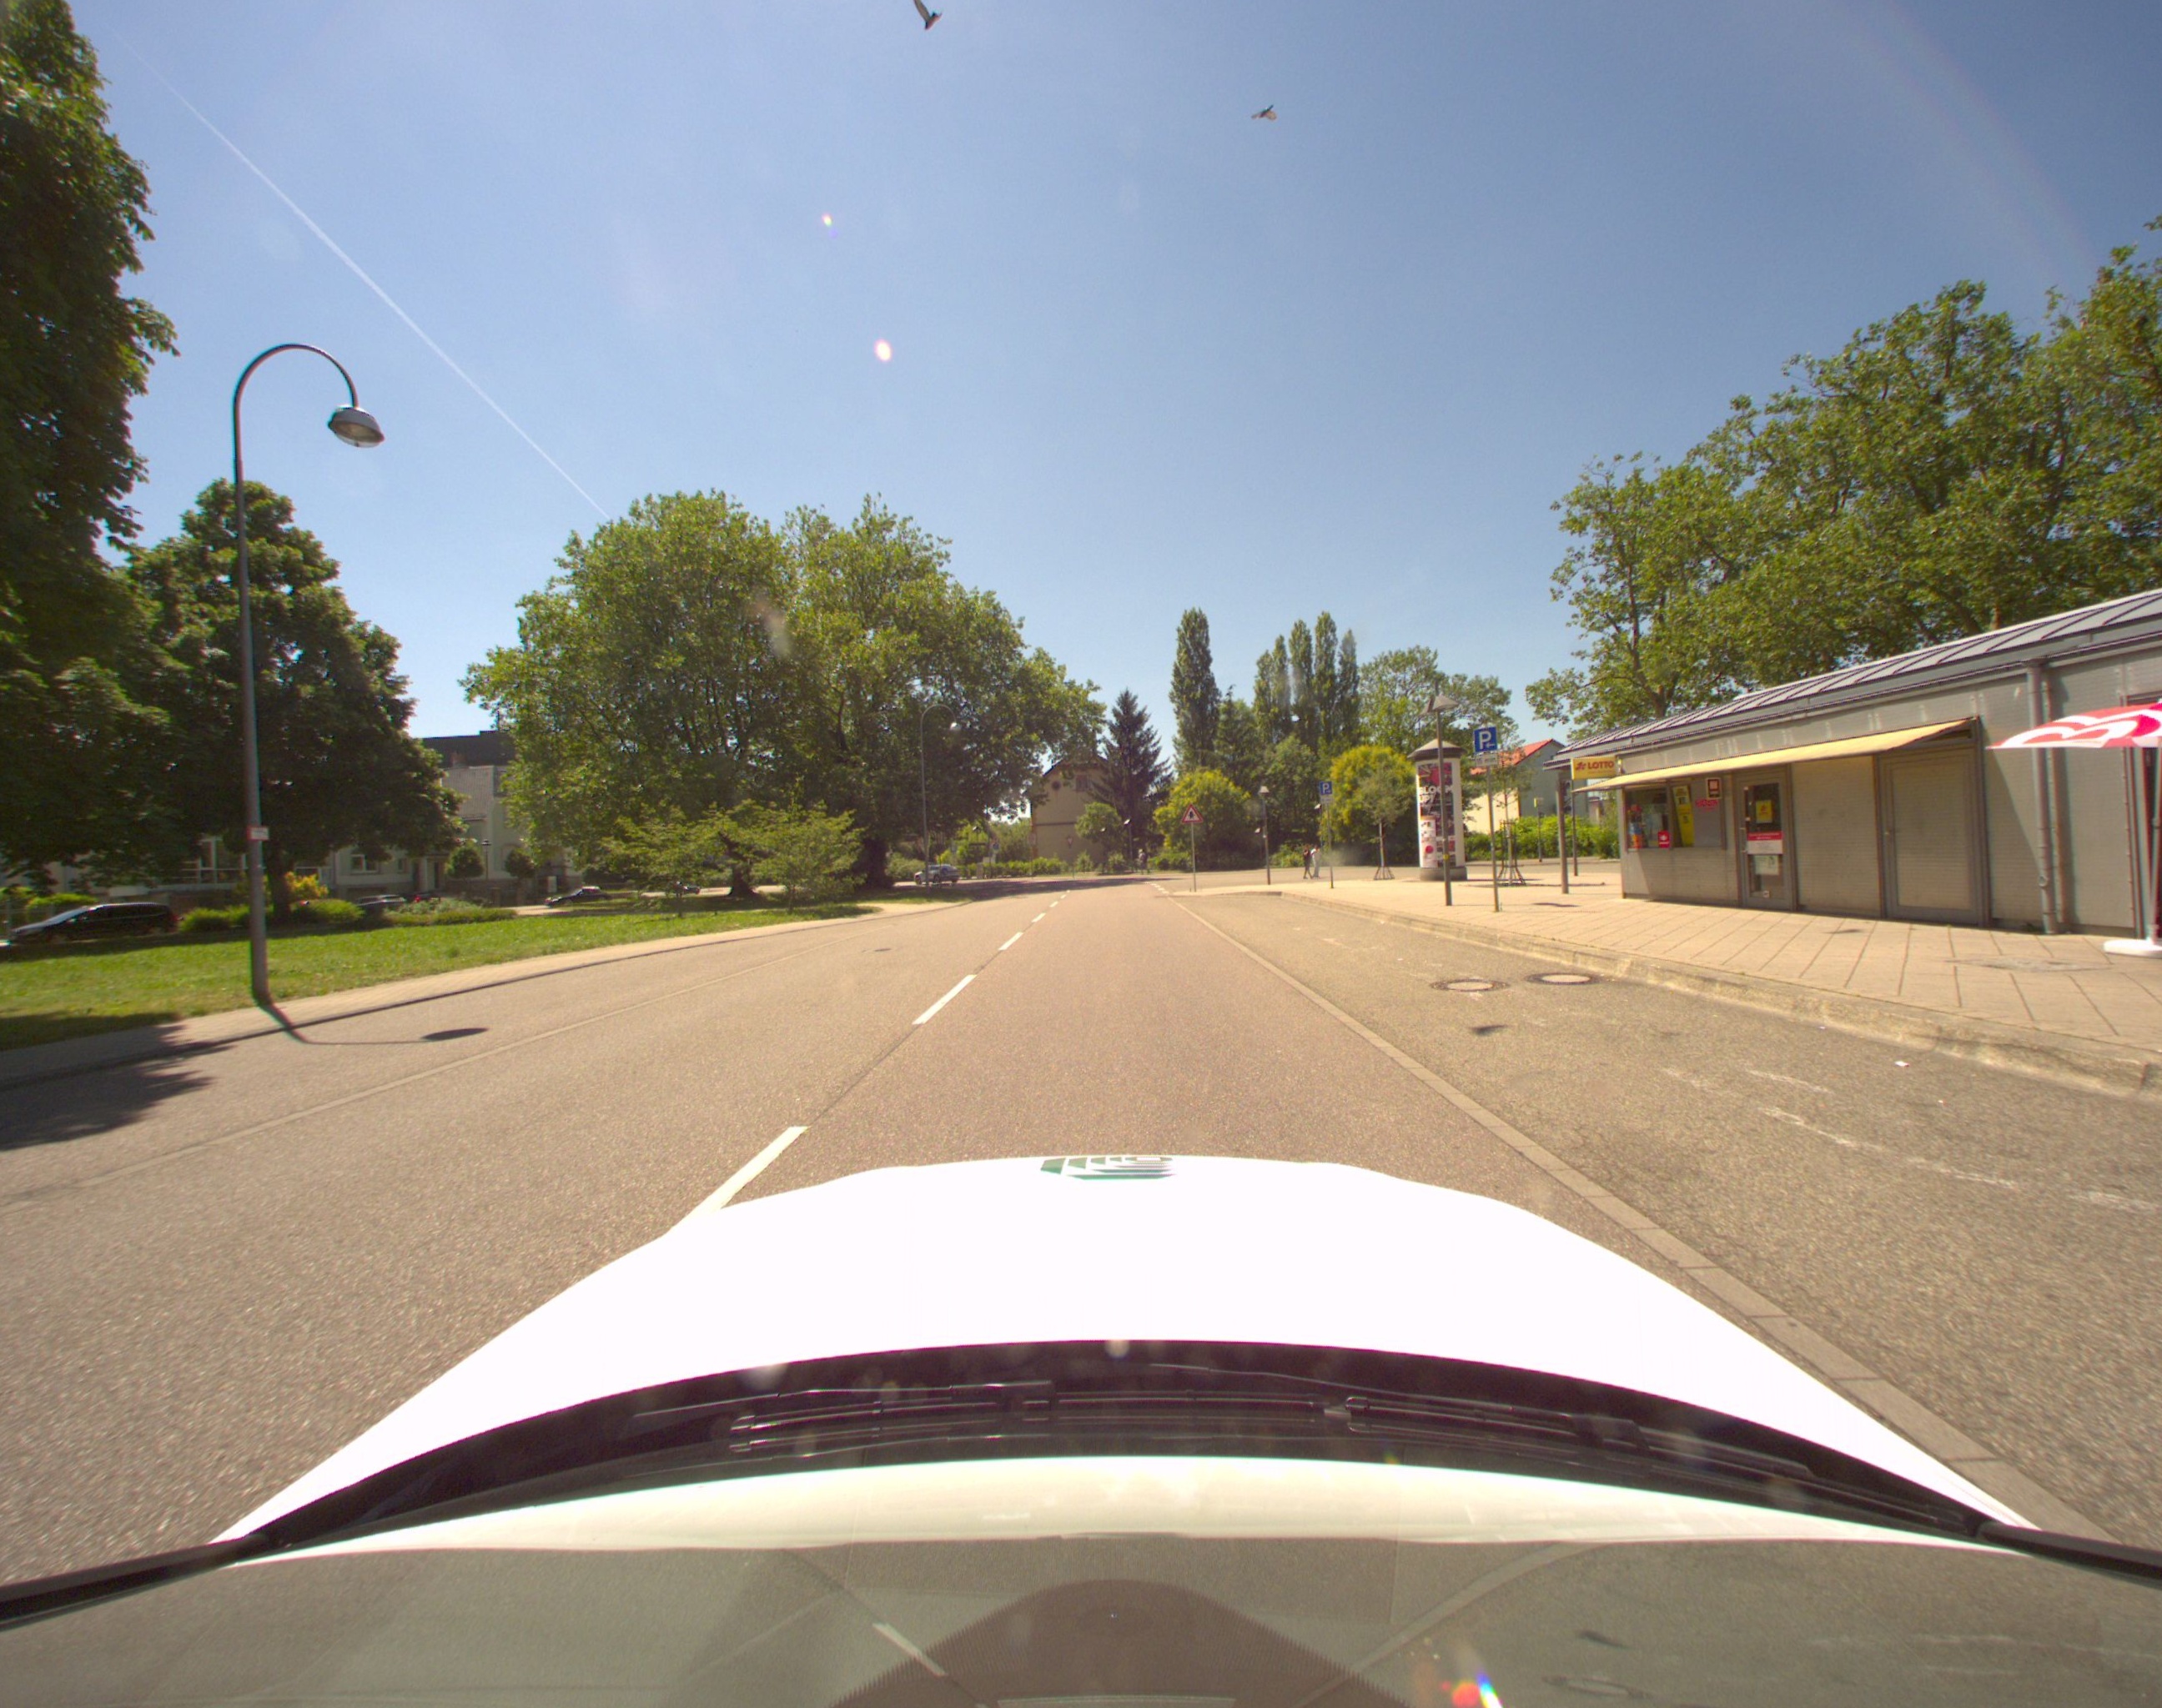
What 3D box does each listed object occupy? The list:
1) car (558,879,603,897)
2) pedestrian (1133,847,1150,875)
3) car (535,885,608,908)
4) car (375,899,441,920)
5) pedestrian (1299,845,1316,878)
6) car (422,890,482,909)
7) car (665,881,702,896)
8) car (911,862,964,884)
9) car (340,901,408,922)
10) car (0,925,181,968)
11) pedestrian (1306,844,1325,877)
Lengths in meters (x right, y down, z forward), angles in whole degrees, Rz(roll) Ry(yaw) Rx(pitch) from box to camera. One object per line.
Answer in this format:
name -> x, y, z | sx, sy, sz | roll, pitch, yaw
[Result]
car -> -52.623, 3.606, 85.648 | 3.954, 1.807, 1.912 | -1, -1, 19
pedestrian -> 4.451, 0.512, 59.855 | 0.810, 1.965, 0.847 | -2, -1, -38
car -> -36.157, 2.986, 57.866 | 1.799, 1.310, 4.013 | -3, 0, 27
car -> -47.746, 3.917, 57.774 | 3.695, 1.252, 1.721 | -3, -1, 15
pedestrian -> 11.450, 0.395, 41.171 | 0.629, 1.650, 0.755 | -3, -3, 30
car -> -46.292, 3.364, 59.947 | 3.536, 1.185, 1.483 | -3, -1, 12
car -> -38.509, 3.380, 78.893 | 4.143, 1.310, 1.653 | -3, -1, 39
car -> -12.261, 1.640, 69.501 | 4.718, 1.627, 2.001 | -3, 0, 44
car -> -47.462, 3.852, 54.679 | 3.536, 1.185, 1.566 | -3, -1, 12
car -> -43.998, 4.065, 36.215 | 1.970, 1.349, 4.910 | -3, 0, 19
pedestrian -> 12.193, 0.335, 42.309 | 0.713, 1.650, 0.755 | -3, -3, 30
